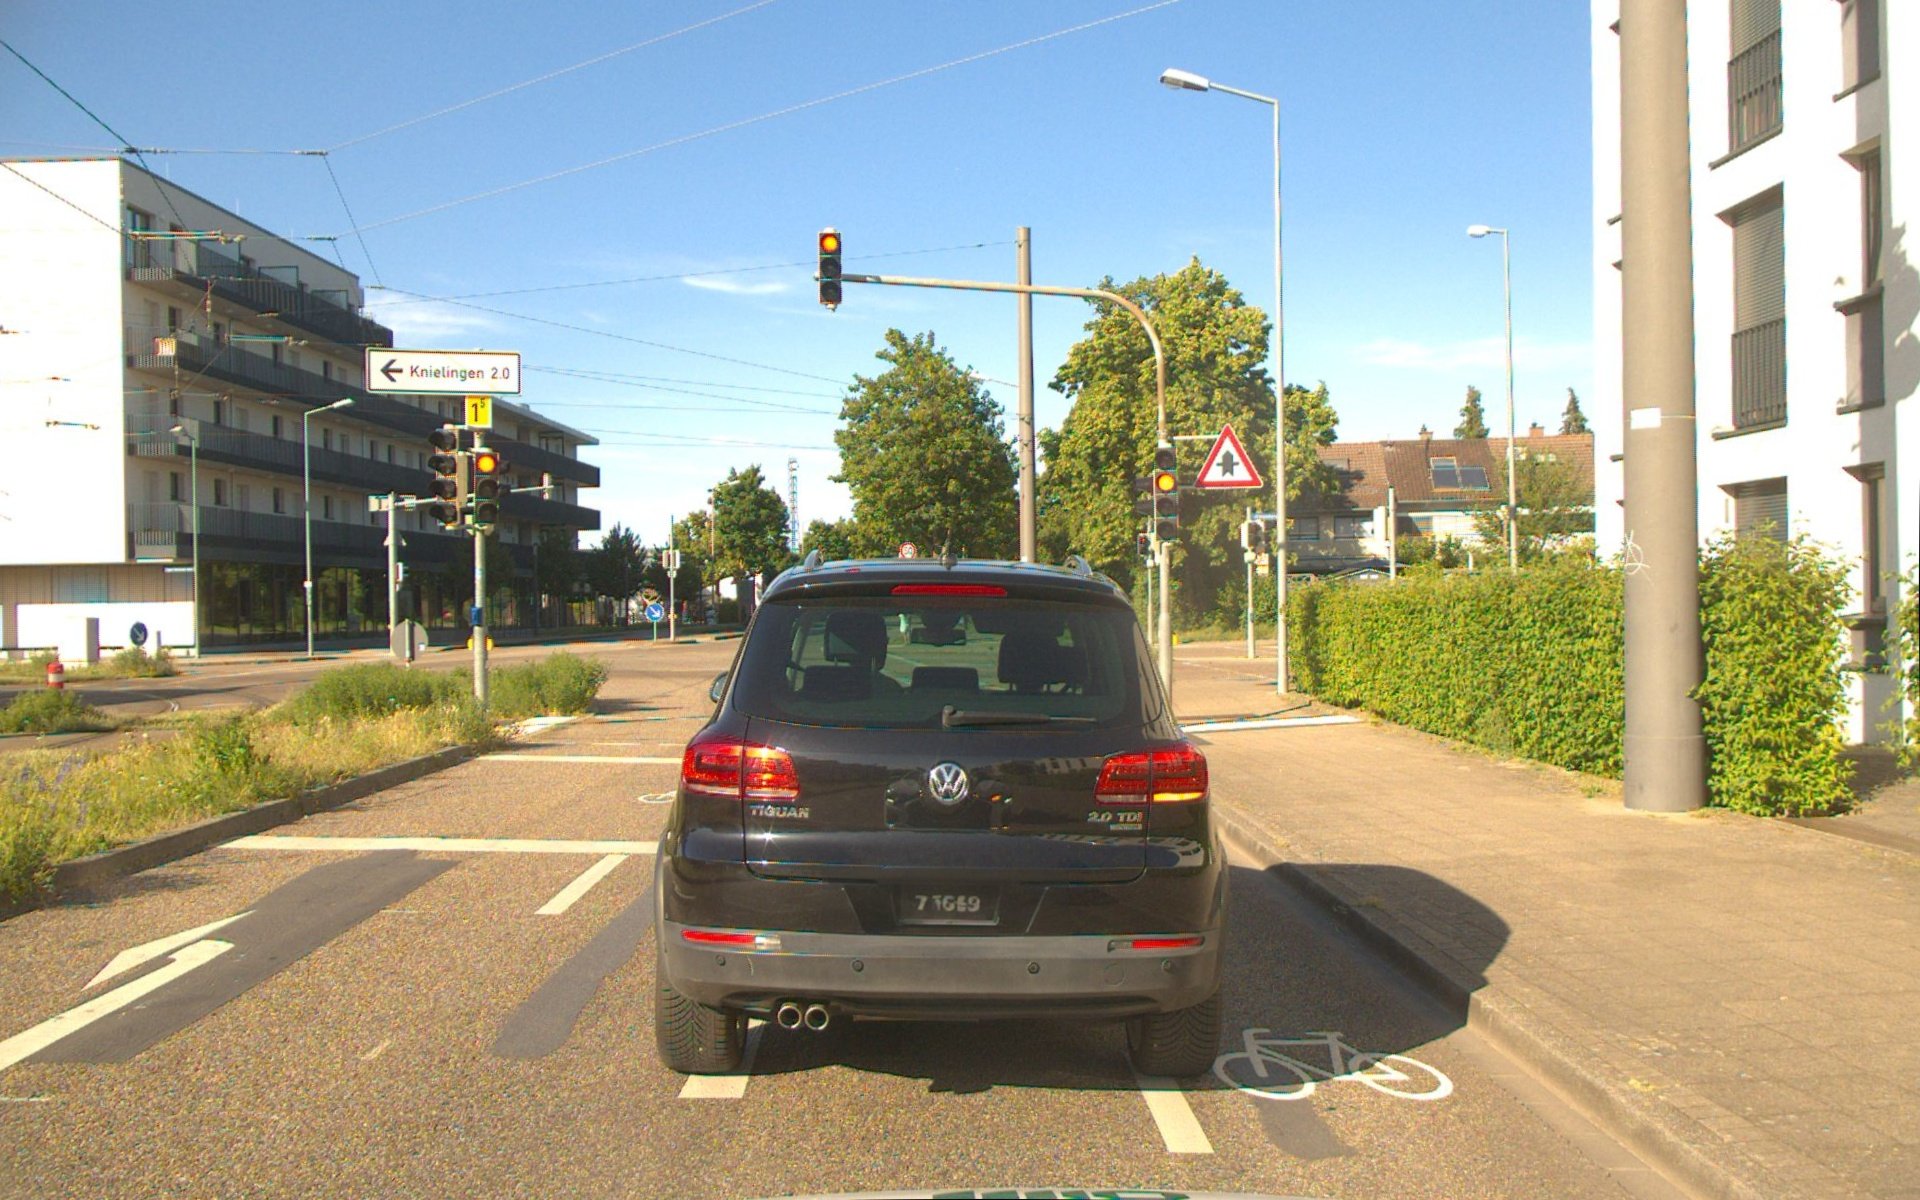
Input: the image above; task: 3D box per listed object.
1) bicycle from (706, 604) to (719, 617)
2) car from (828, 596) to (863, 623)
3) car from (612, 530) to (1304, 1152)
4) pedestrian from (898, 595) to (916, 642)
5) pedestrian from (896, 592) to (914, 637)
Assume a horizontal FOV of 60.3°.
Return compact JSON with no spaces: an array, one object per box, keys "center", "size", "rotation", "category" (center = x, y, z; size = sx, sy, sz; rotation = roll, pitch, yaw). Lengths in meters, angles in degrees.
[{"center":[-16.604,0.682,111.042],"size":[0.485,0.863,2.079],"rotation":[0,0,3],"category":"bicycle"},{"center":[-6.142,0.505,88.921],"size":[1.716,1.411,3.998],"rotation":[1,0,-2],"category":"car"},{"center":[-0.067,0.650,6.486],"size":[1.867,1.671,3.998],"rotation":[1,0,-2],"category":"car"},{"center":[-1.918,0.660,59.613],"size":[0.590,1.668,0.529],"rotation":[0,0,4],"category":"pedestrian"},{"center":[-1.967,0.510,59.037],"size":[0.590,1.592,0.529],"rotation":[0,0,4],"category":"pedestrian"}]
